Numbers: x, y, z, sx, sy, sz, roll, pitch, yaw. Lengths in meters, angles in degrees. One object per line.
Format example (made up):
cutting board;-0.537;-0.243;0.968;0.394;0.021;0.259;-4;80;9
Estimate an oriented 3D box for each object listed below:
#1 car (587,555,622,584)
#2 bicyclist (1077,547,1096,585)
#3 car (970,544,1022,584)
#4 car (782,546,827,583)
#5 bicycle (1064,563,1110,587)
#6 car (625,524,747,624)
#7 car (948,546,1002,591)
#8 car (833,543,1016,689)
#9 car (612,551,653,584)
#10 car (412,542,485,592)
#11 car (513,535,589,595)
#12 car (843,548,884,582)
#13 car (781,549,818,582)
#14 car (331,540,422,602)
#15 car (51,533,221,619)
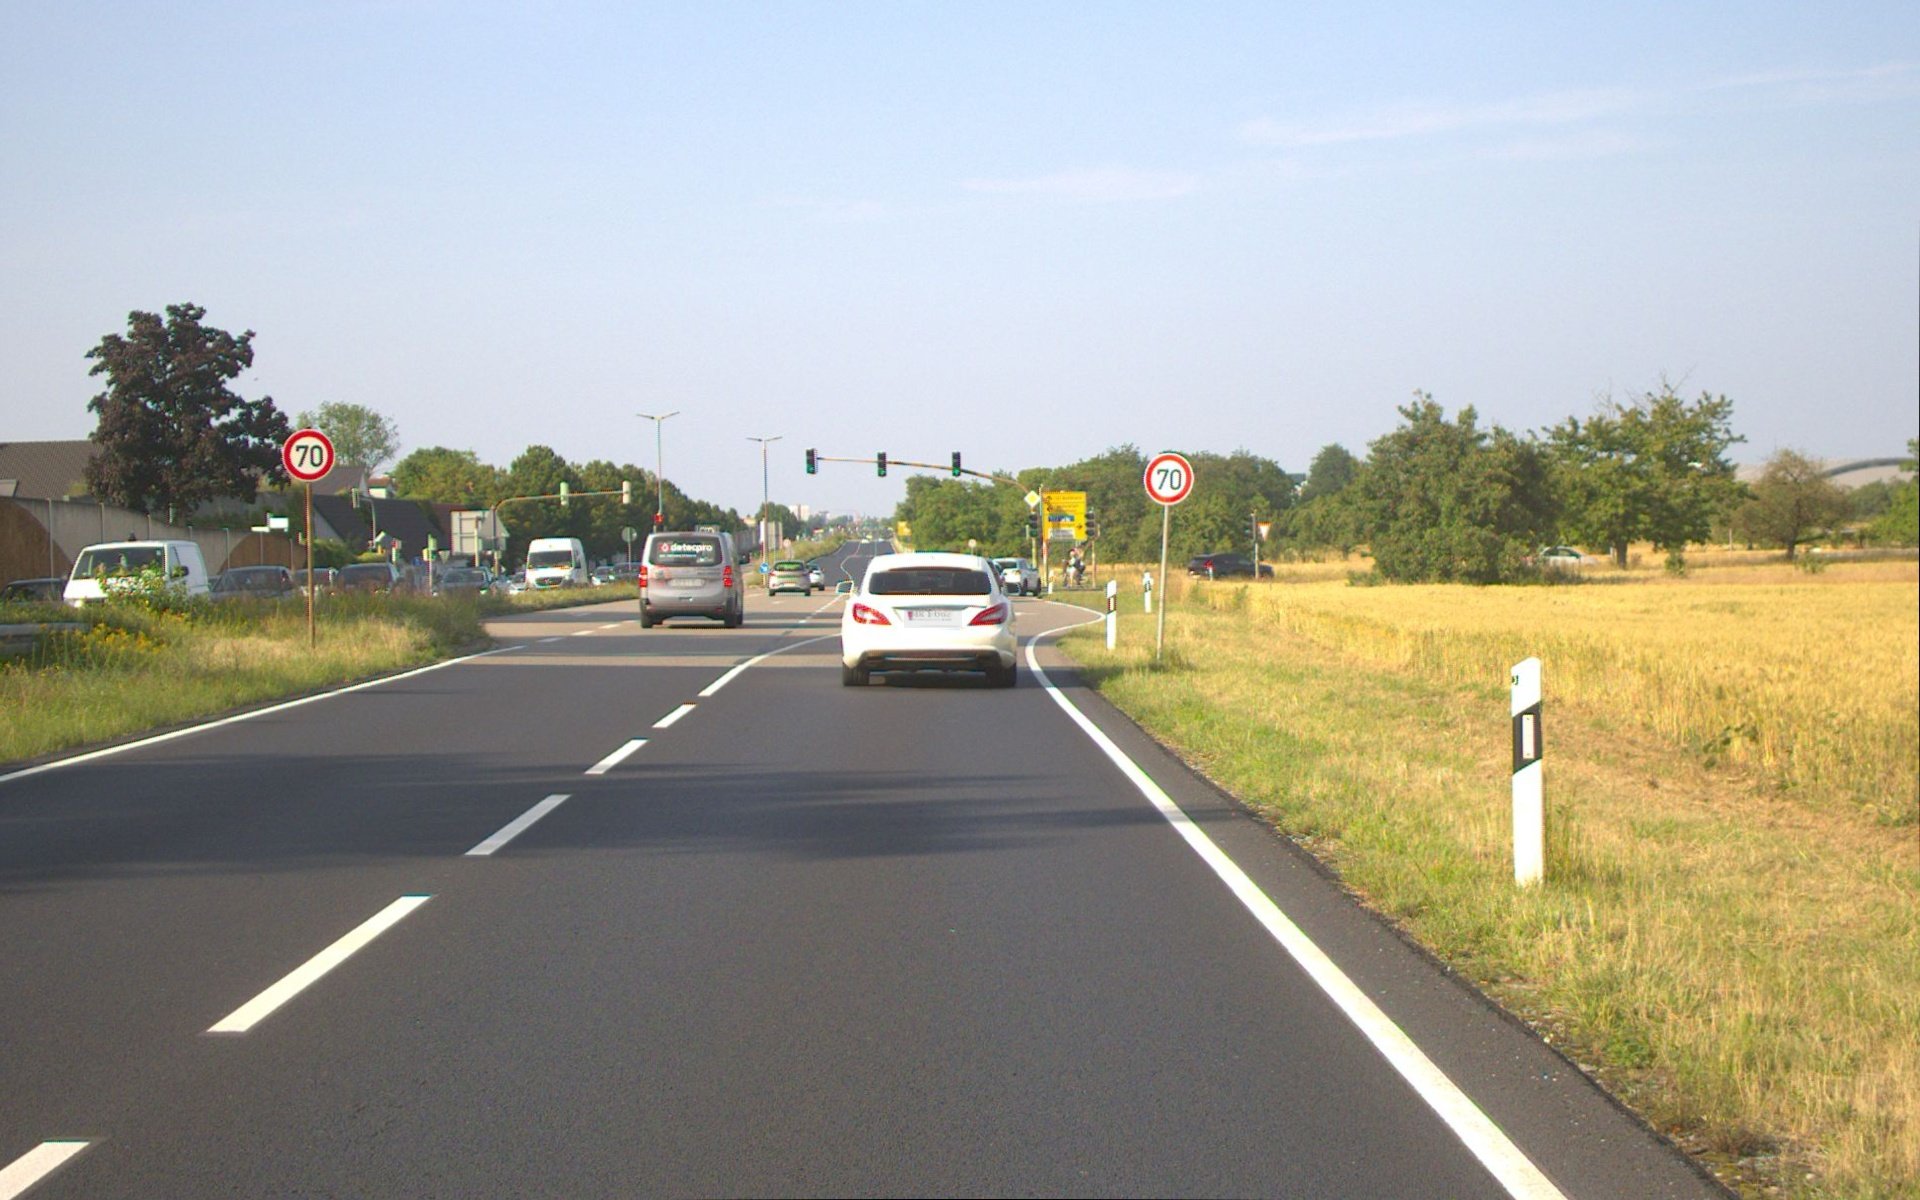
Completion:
car;-21.501;-1.843;208.041;1.722;1.700;4.000;1;1;-1
bicyclist;5.829;-1.553;158.579;0.848;1.750;0.799;1;1;0
car;1.486;-1.503;142.679;1.854;1.592;4.001;1;1;-3
car;-6.435;-1.468;142.615;1.717;1.487;3.585;1;1;-1
bicycle;5.864;-1.146;158.572;2.096;1.085;0.808;1;1;3
car;-5.368;-0.550;67.866;2.025;1.885;4.959;1;1;0
car;0.501;-1.096;118.809;1.754;1.511;4.000;-1;1;0
car;-0.412;0.135;37.729;1.894;1.503;4.000;0;1;-1
car;-16.564;-1.658;173.915;1.731;1.619;4.923;1;1;-2
car;-15.218;-0.995;102.498;1.648;1.437;3.568;1;1;0
car;-16.245;-1.420;136.940;2.348;2.295;7.192;1;1;-2
car;-4.935;-1.772;174.783;1.839;1.678;4.001;1;1;-5
car;-8.319;-1.812;177.743;1.775;1.660;3.664;1;1;-5
car;-14.282;-0.732;84.346;1.514;1.460;4.659;1;1;-1
car;-14.759;-0.452;61.852;1.981;1.479;5.061;1;1;-2
